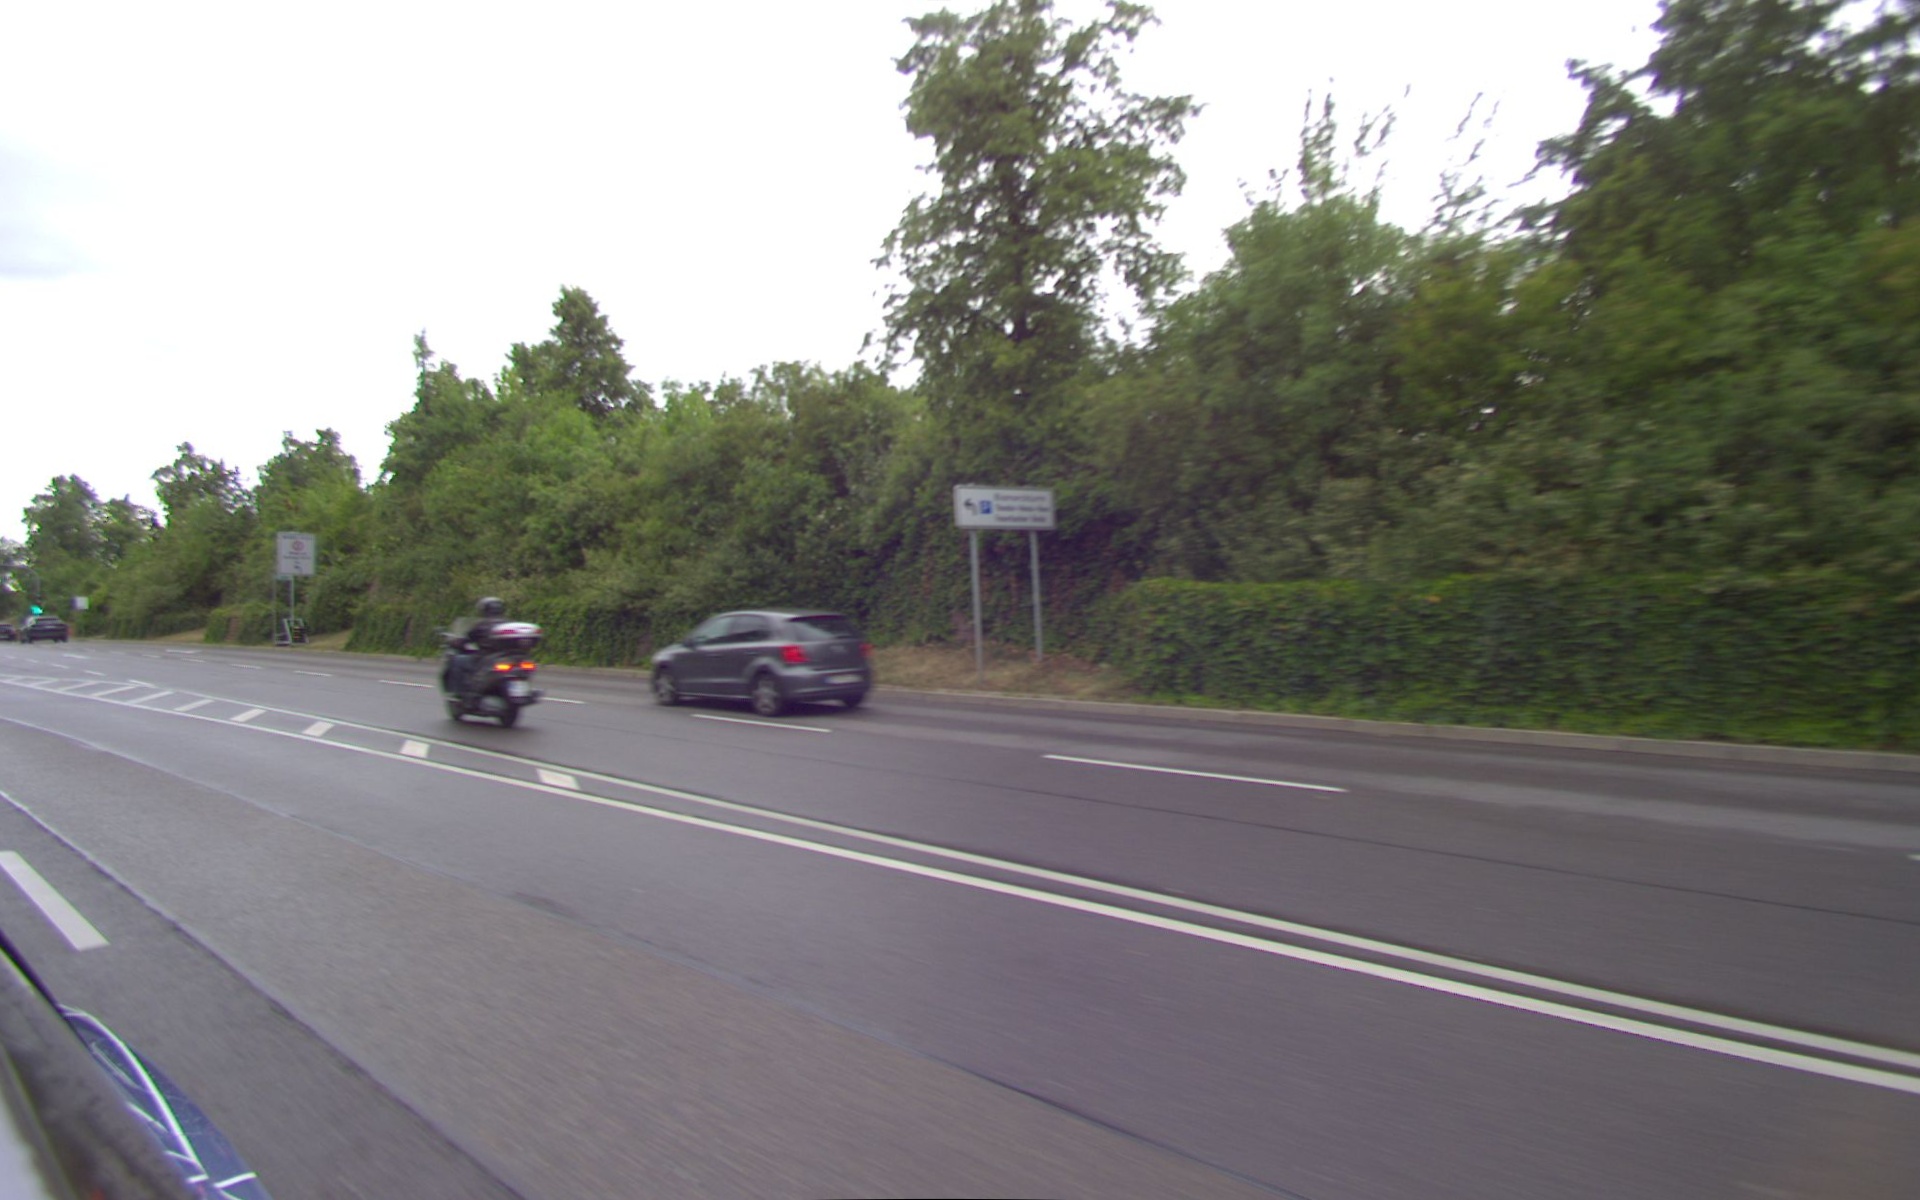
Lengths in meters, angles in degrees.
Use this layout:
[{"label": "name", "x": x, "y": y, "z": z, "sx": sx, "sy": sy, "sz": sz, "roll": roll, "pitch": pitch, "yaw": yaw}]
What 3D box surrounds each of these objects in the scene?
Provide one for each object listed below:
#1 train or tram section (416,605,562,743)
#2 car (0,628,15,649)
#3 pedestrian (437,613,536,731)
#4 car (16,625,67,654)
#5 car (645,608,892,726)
[{"label": "train or tram section", "x": -6.002, "y": 0.881, "z": 12.820, "sx": 2.383, "sy": 1.582, "sz": 0.782, "roll": -2, "pitch": 0, "yaw": 42}, {"label": "car", "x": -70.357, "y": 2.784, "z": 73.779, "sx": 3.858, "sy": 1.478, "sz": 1.658, "roll": -2, "pitch": -1, "yaw": 40}, {"label": "pedestrian", "x": -6.000, "y": 0.881, "z": 12.821, "sx": 0.974, "sy": 1.394, "sz": 0.782, "roll": -2, "pitch": 0, "yaw": 42}, {"label": "car", "x": -56.095, "y": 2.407, "z": 61.788, "sx": 4.425, "sy": 1.618, "sz": 1.781, "roll": -2, "pitch": -1, "yaw": 41}, {"label": "car", "x": -2.790, "y": 0.860, "z": 14.310, "sx": 3.695, "sy": 1.448, "sz": 1.532, "roll": -1, "pitch": -1, "yaw": 42}]
